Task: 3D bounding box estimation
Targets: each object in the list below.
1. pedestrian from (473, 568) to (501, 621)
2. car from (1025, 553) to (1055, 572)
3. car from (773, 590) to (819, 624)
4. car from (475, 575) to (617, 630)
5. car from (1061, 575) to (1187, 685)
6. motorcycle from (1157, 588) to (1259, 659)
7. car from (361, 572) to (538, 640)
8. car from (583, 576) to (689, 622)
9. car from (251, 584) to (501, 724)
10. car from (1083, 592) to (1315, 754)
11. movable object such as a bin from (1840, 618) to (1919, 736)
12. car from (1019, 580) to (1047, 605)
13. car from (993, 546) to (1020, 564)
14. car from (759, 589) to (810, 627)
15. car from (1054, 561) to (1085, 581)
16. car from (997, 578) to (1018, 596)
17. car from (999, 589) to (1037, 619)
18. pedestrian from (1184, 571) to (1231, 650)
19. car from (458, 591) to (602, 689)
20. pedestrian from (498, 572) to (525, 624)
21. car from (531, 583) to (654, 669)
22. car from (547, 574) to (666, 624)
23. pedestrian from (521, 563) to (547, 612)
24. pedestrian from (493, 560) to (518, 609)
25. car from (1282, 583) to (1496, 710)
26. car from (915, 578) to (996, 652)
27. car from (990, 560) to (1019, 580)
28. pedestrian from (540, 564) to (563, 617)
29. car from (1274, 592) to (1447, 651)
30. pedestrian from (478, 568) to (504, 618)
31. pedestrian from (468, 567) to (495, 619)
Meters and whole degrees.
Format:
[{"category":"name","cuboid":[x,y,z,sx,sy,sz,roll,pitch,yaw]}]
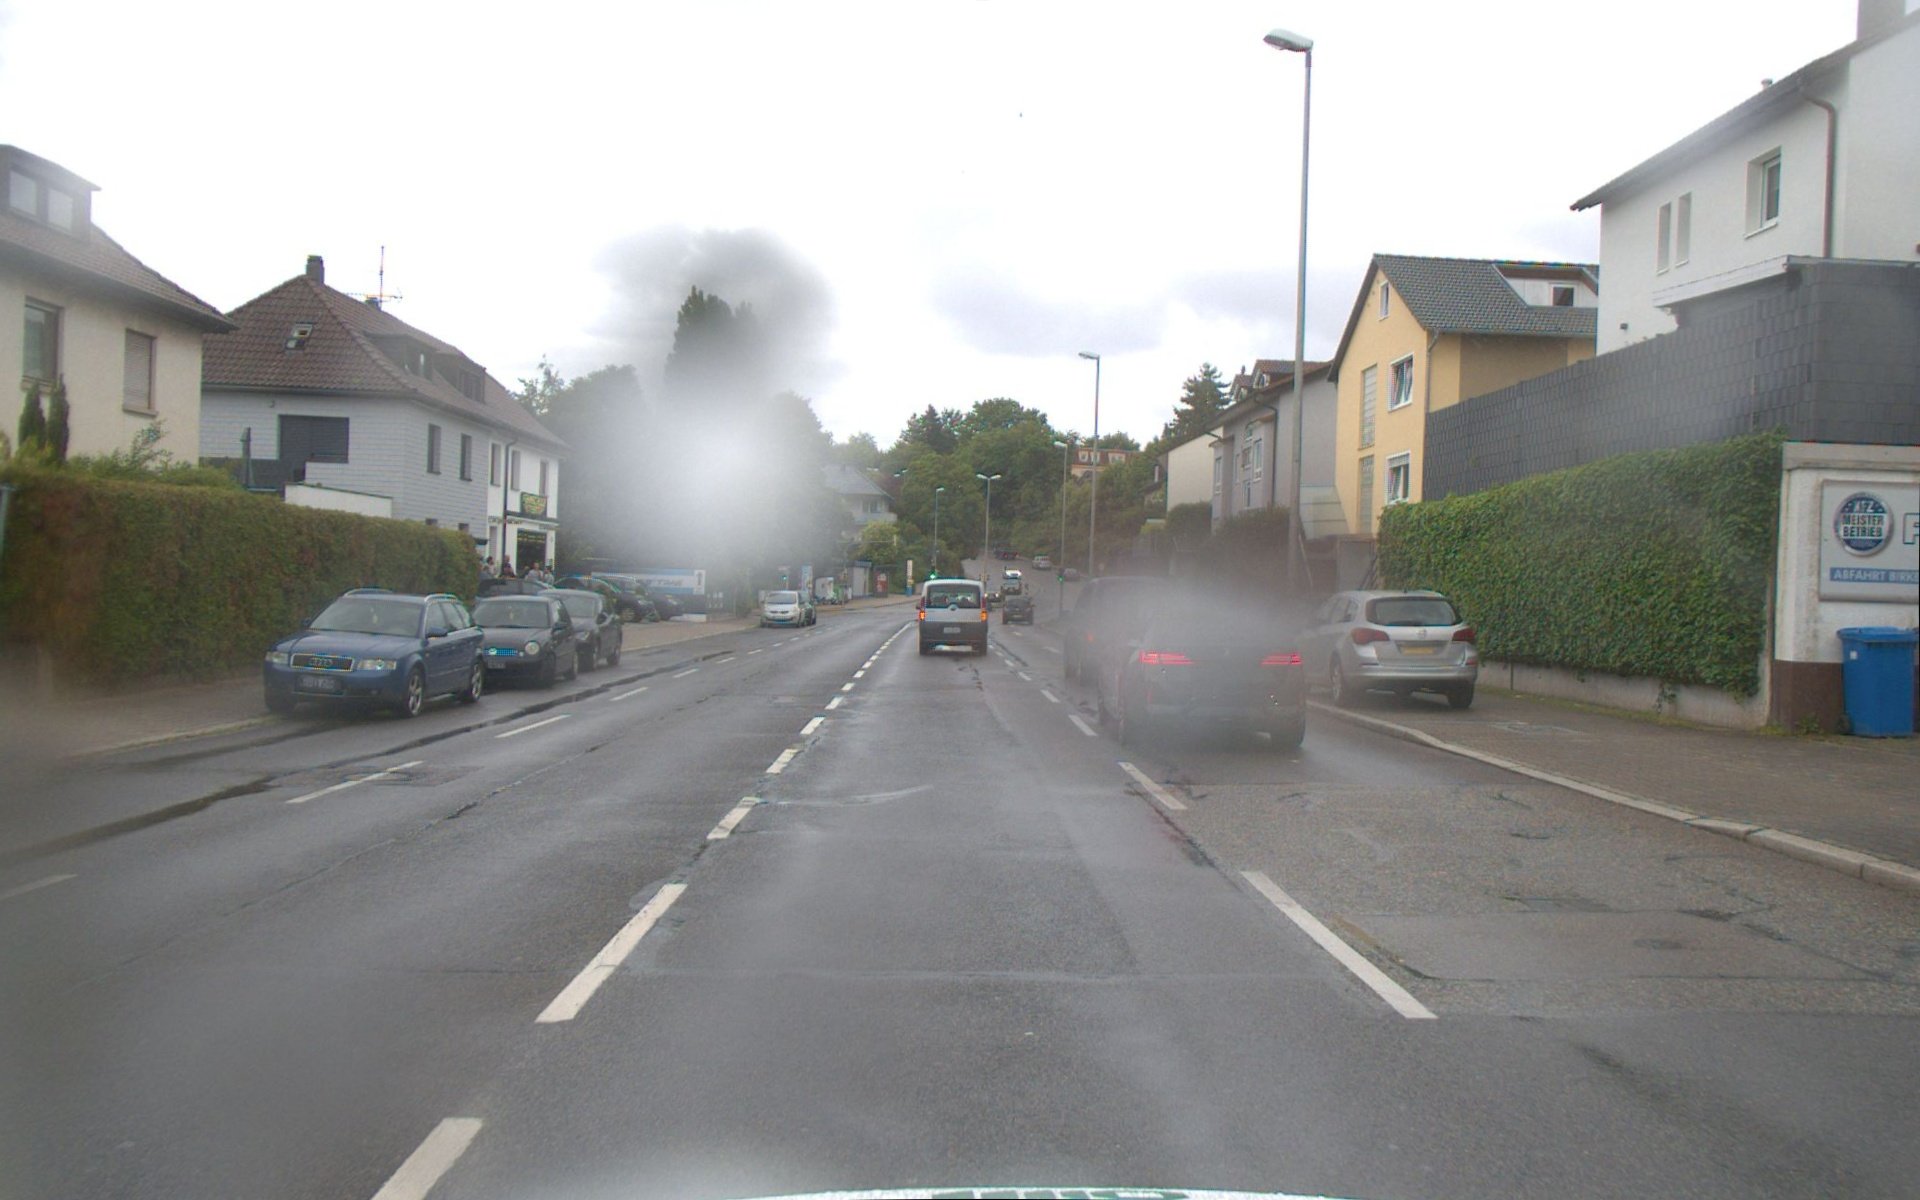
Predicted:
[{"category":"pedestrian","cuboid":[-15.590,-0.188,54.564,0.588,1.694,0.650,4,0,4]},{"category":"car","cuboid":[10.242,-4.806,211.671,2.477,2.048,5.593,1,4,-12]},{"category":"car","cuboid":[-7.942,0.328,80.378,1.846,1.612,4.000,1,0,0]},{"category":"car","cuboid":[-13.086,0.067,52.468,3.990,1.542,1.855,2,0,-1]},{"category":"car","cuboid":[2.860,0.502,29.579,1.801,1.798,4.000,1,0,0]},{"category":"motorcycle","cuboid":[5.374,0.500,35.931,2.046,1.476,0.757,1,0,34]},{"category":"car","cuboid":[-13.022,0.161,42.371,3.906,1.542,1.855,2,0,-1]},{"category":"car","cuboid":[-13.592,-0.034,69.475,3.991,1.542,1.855,5,0,-1]},{"category":"car","cuboid":[-7.262,0.616,21.025,1.722,1.559,4.285,1,0,-2]},{"category":"car","cuboid":[2.429,0.696,17.789,1.952,1.510,4.000,1,0,1]},{"category":"movable object such as a bin","cuboid":[9.283,0.759,16.544,0.583,1.124,0.667,-2,0,-1]},{"category":"car","cuboid":[6.965,-0.710,158.860,2.470,2.048,5.610,2,3,1]},{"category":"car","cuboid":[6.428,-6.209,227.562,2.477,2.047,5.595,2,4,-12]},{"category":"car","cuboid":[-7.796,0.329,73.696,1.846,1.612,4.000,1,0,0]},{"category":"car","cuboid":[12.679,-3.412,192.384,2.475,2.048,5.599,1,3,-9]},{"category":"car","cuboid":[4.843,-1.283,167.595,1.953,1.803,4.000,0,1,-1]},{"category":"car","cuboid":[3.215,0.222,92.297,1.953,1.606,3.999,0,1,-1]},{"category":"pedestrian","cuboid":[5.378,0.224,35.914,0.815,1.678,0.620,1,0,33]},{"category":"car","cuboid":[-6.948,0.612,27.059,1.520,1.456,4.011,1,0,-4]},{"category":"pedestrian","cuboid":[-15.229,-0.068,56.136,0.588,1.694,0.650,4,0,4]},{"category":"car","cuboid":[-7.191,0.479,32.706,1.722,1.559,4.205,1,0,-4]},{"category":"car","cuboid":[-13.297,-0.037,62.428,3.991,1.542,1.855,5,0,-1]},{"category":"pedestrian","cuboid":[-15.103,-0.450,58.585,0.588,1.694,0.650,4,0,7]},{"category":"pedestrian","cuboid":[-16.171,-0.534,58.847,0.588,1.694,0.650,4,0,4]},{"category":"car","cuboid":[5.736,0.573,22.670,1.666,1.536,4.533,1,0,-1]},{"category":"car","cuboid":[-0.124,0.374,42.659,1.953,1.768,4.000,1,0,0]},{"category":"car","cuboid":[5.250,-3.519,195.384,2.475,2.048,5.599,1,4,-9]},{"category":"pedestrian","cuboid":[-14.367,-0.327,58.153,0.589,1.822,0.649,4,0,-6]},{"category":"car","cuboid":[10.110,0.523,41.961,3.907,1.458,1.868,0,0,-3]},{"category":"pedestrian","cuboid":[-16.139,-0.237,56.903,0.588,1.694,0.650,4,0,4]},{"category":"pedestrian","cuboid":[-16.084,-0.236,55.634,0.588,1.694,0.650,4,0,4]}]
